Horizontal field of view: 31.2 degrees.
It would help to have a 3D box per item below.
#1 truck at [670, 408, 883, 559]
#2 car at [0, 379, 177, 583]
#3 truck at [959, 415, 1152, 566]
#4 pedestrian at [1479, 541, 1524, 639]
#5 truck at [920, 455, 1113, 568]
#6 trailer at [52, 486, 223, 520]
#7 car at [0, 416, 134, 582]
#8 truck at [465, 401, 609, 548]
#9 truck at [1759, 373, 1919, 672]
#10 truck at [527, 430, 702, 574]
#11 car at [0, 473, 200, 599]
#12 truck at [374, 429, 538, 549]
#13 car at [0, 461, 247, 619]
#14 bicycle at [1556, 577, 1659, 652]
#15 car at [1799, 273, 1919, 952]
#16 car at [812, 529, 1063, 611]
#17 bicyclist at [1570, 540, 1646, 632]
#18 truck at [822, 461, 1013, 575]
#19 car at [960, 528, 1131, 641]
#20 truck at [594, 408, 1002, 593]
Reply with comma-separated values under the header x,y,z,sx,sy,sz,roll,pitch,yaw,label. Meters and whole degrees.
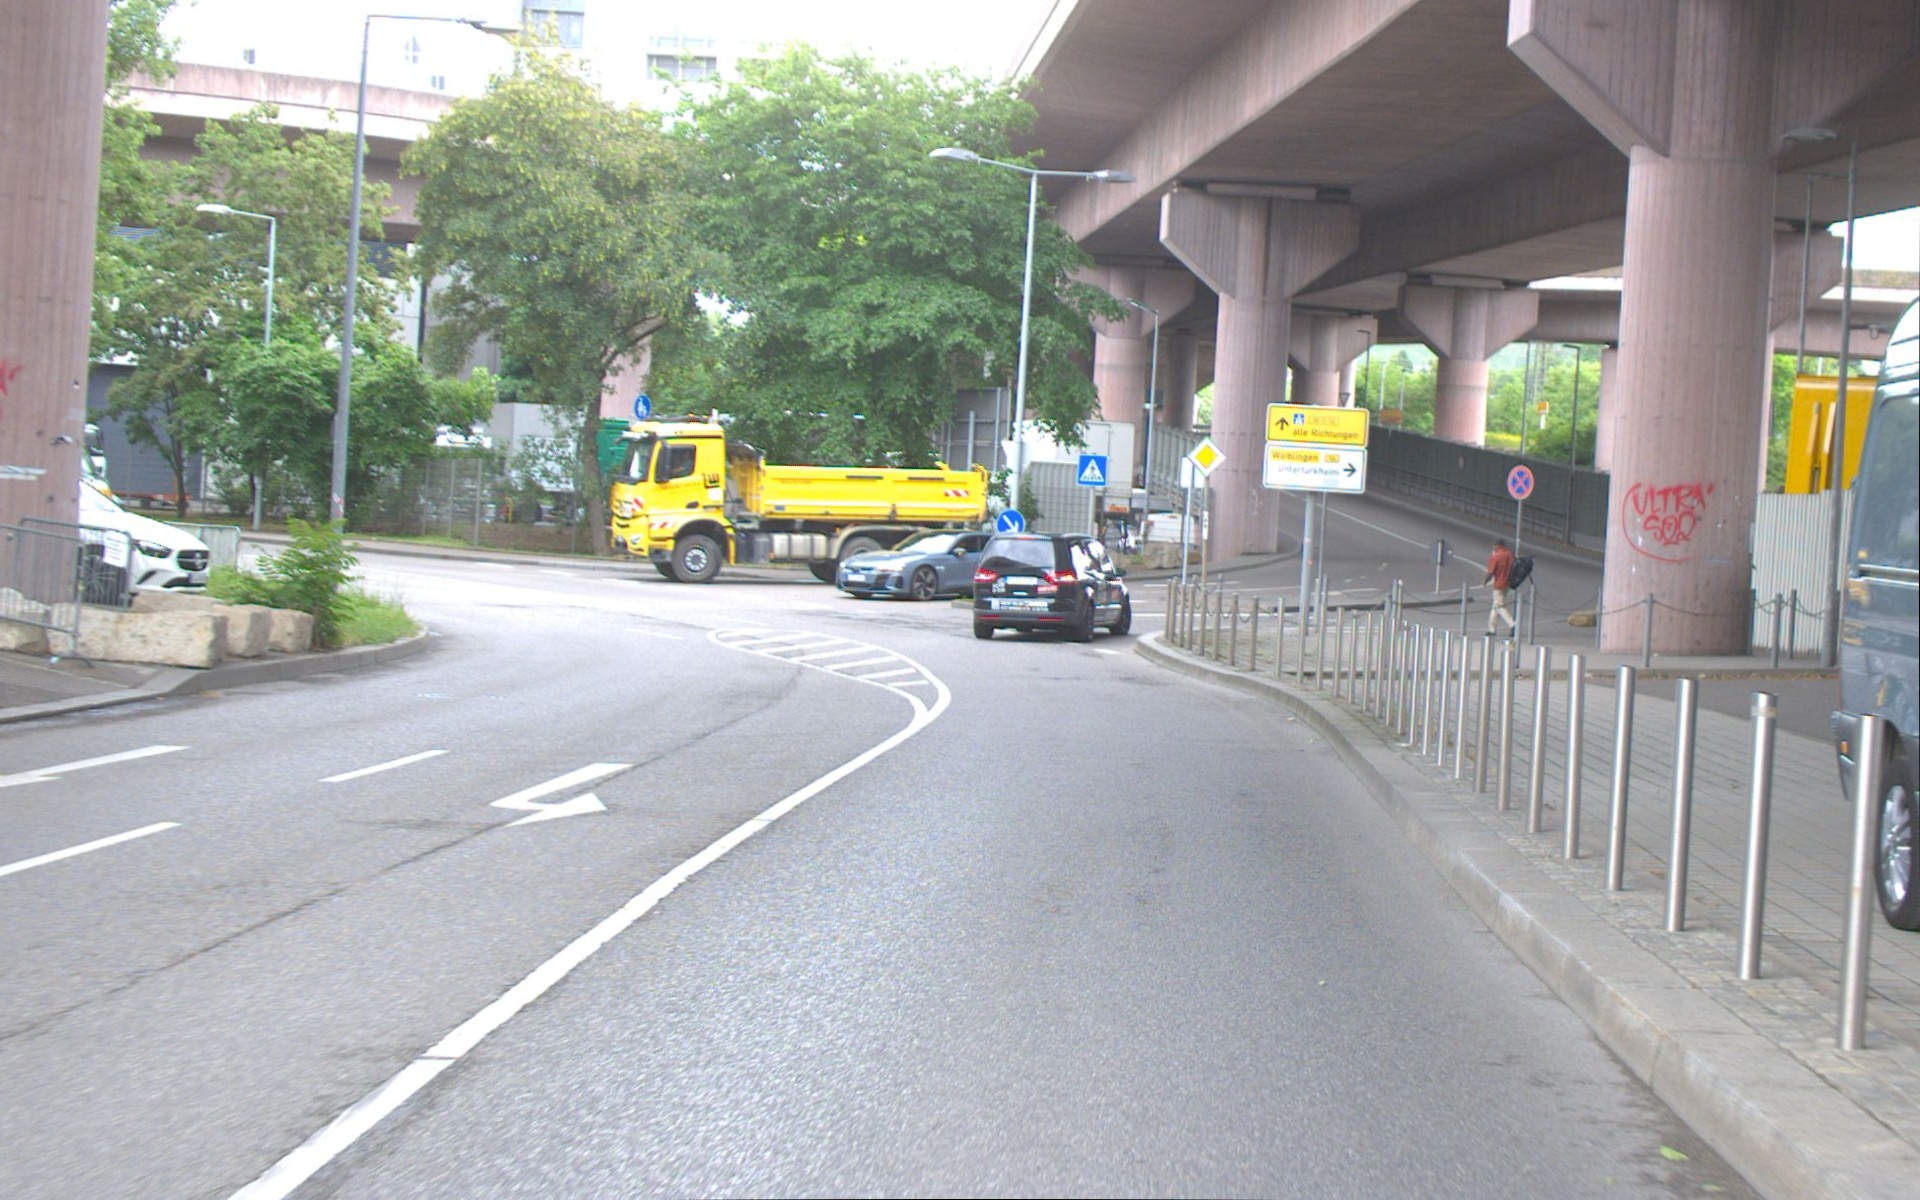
x,y,z,sx,sy,sz,roll,pitch,yaw,label
-5.192,-3.295,95.480,3.065,3.854,8.051,1,3,-24,truck
-14.640,-1.829,49.120,6.175,2.715,2.368,4,1,2,car
2.852,-3.445,105.816,3.064,4.284,8.052,1,3,-20,truck
9.319,-0.175,59.192,0.536,1.670,0.558,1,2,-15,pedestrian
1.555,-2.579,98.701,2.914,2.889,6.560,1,3,-24,truck
-24.671,-2.915,102.952,2.150,0.740,6.291,-3,5,-43,trailer
-13.714,-1.465,46.297,4.557,2.104,1.850,4,1,5,car
-14.750,-4.428,119.370,3.202,4.763,8.052,1,3,-19,truck
17.674,-1.248,60.777,3.145,4.900,8.697,4,1,39,truck
-10.075,-2.847,99.561,3.065,3.949,6.925,2,1,-22,truck
-12.107,-0.900,43.721,4.245,1.366,1.999,5,1,8,car
-17.008,-3.766,115.511,3.054,3.606,7.918,2,3,-26,truck
-10.952,-0.792,40.764,4.383,1.600,1.954,5,1,10,car
10.126,0.218,53.829,0.802,1.094,2.132,1,1,-12,bicycle
4.662,0.088,12.055,1.993,2.604,6.074,2,1,1,car
-0.426,-0.599,69.487,4.919,1.496,2.172,1,2,-45,car
10.137,-0.228,53.825,0.795,1.400,1.067,1,1,-12,bicyclist
-1.270,-2.365,97.178,2.914,2.889,6.560,1,3,-24,truck
1.425,-0.269,55.241,1.994,1.673,4.558,2,1,10,car
-3.550,-2.176,74.993,8.215,3.469,2.938,2,5,-18,truck
